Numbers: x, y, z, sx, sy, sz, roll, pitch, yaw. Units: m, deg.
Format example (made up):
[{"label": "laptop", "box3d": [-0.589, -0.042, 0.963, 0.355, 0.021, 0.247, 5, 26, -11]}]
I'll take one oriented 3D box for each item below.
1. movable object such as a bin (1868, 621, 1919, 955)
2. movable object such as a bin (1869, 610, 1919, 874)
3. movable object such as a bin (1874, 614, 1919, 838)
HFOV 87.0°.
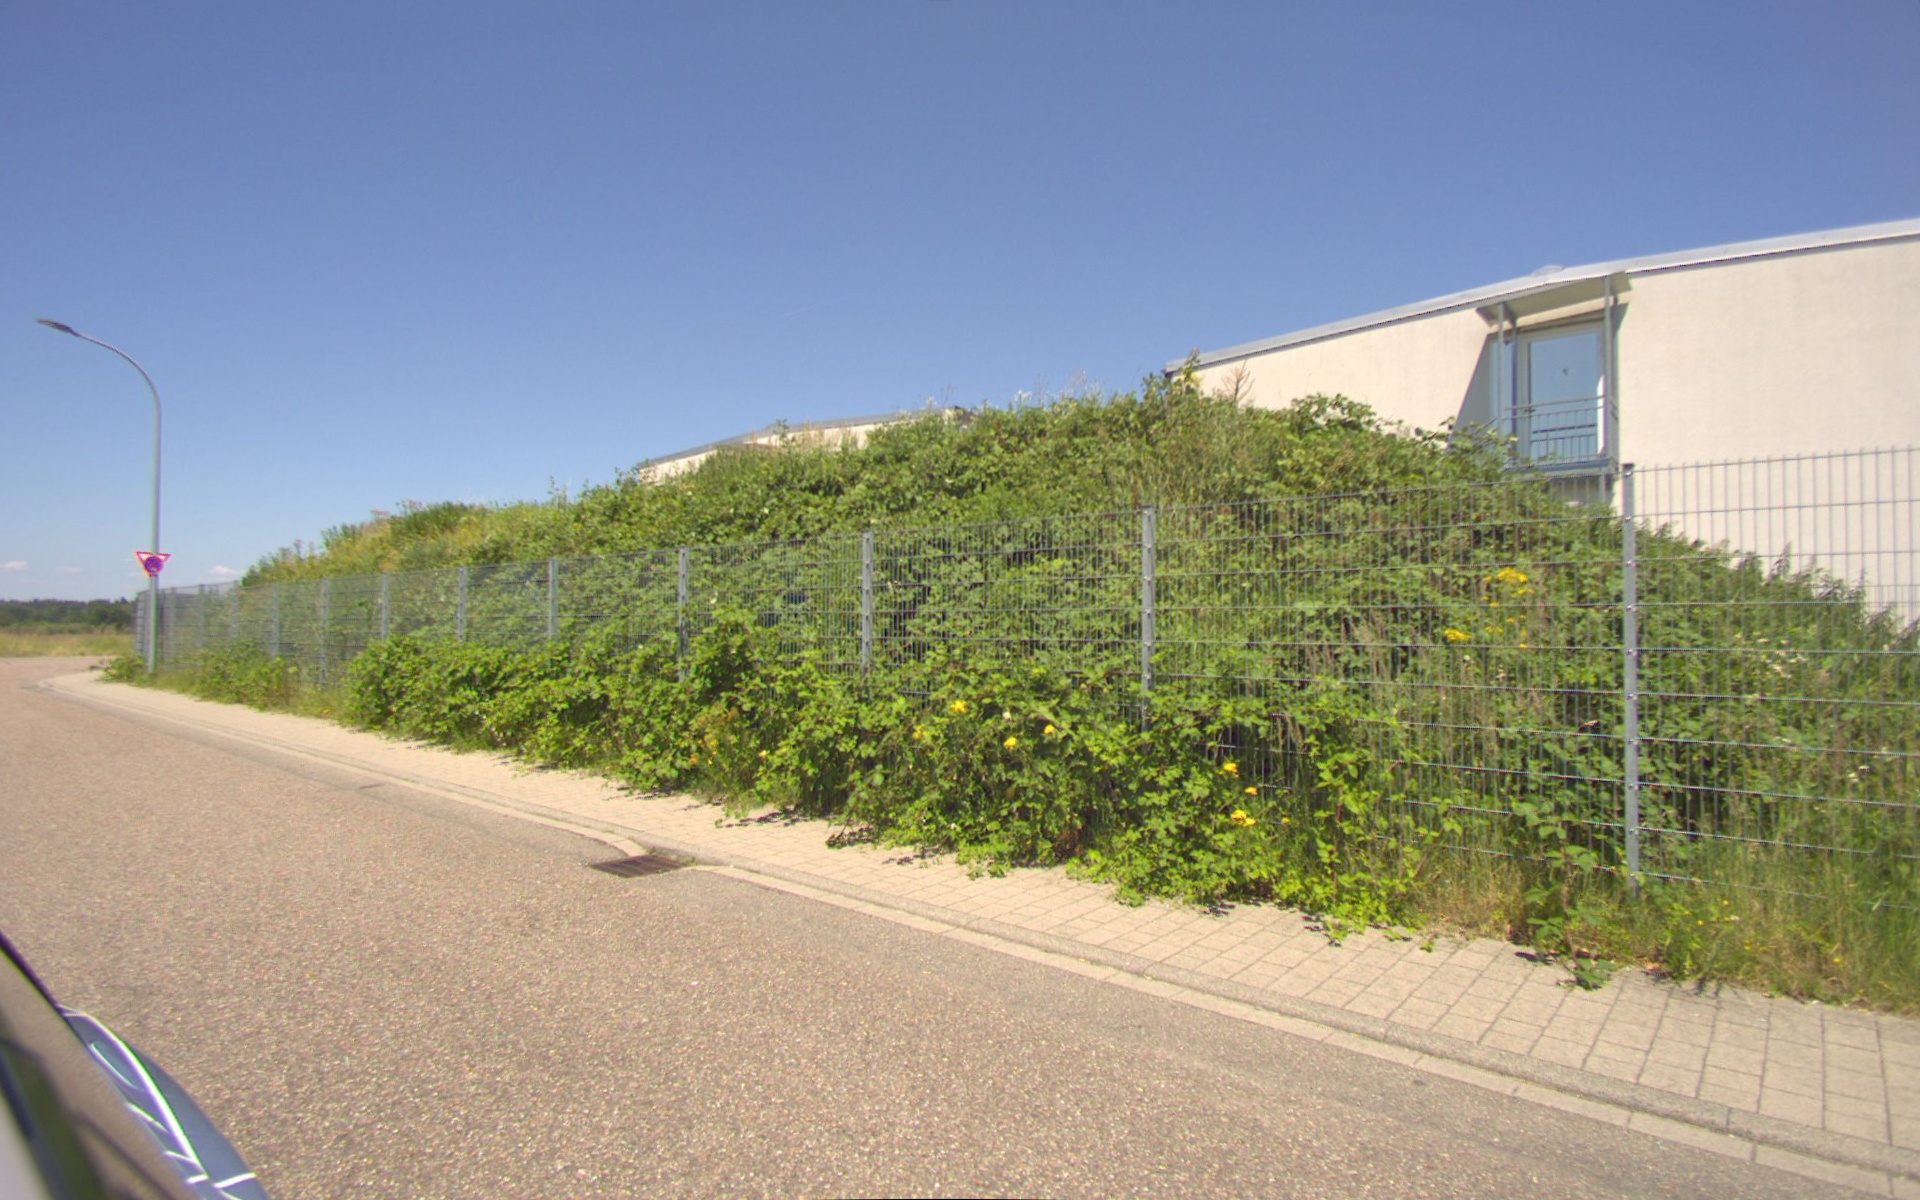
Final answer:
[{"label": "movable object such as a bin", "box3d": [5.308, 0.839, 4.496, 1.838, 1.488, 1.290, -2, -2, 41]}, {"label": "movable object such as a bin", "box3d": [6.541, 0.814, 5.915, 1.765, 1.476, 1.335, -2, 1, 42]}, {"label": "movable object such as a bin", "box3d": [7.561, 0.859, 7.008, 1.765, 1.476, 1.335, -2, 1, 42]}]
